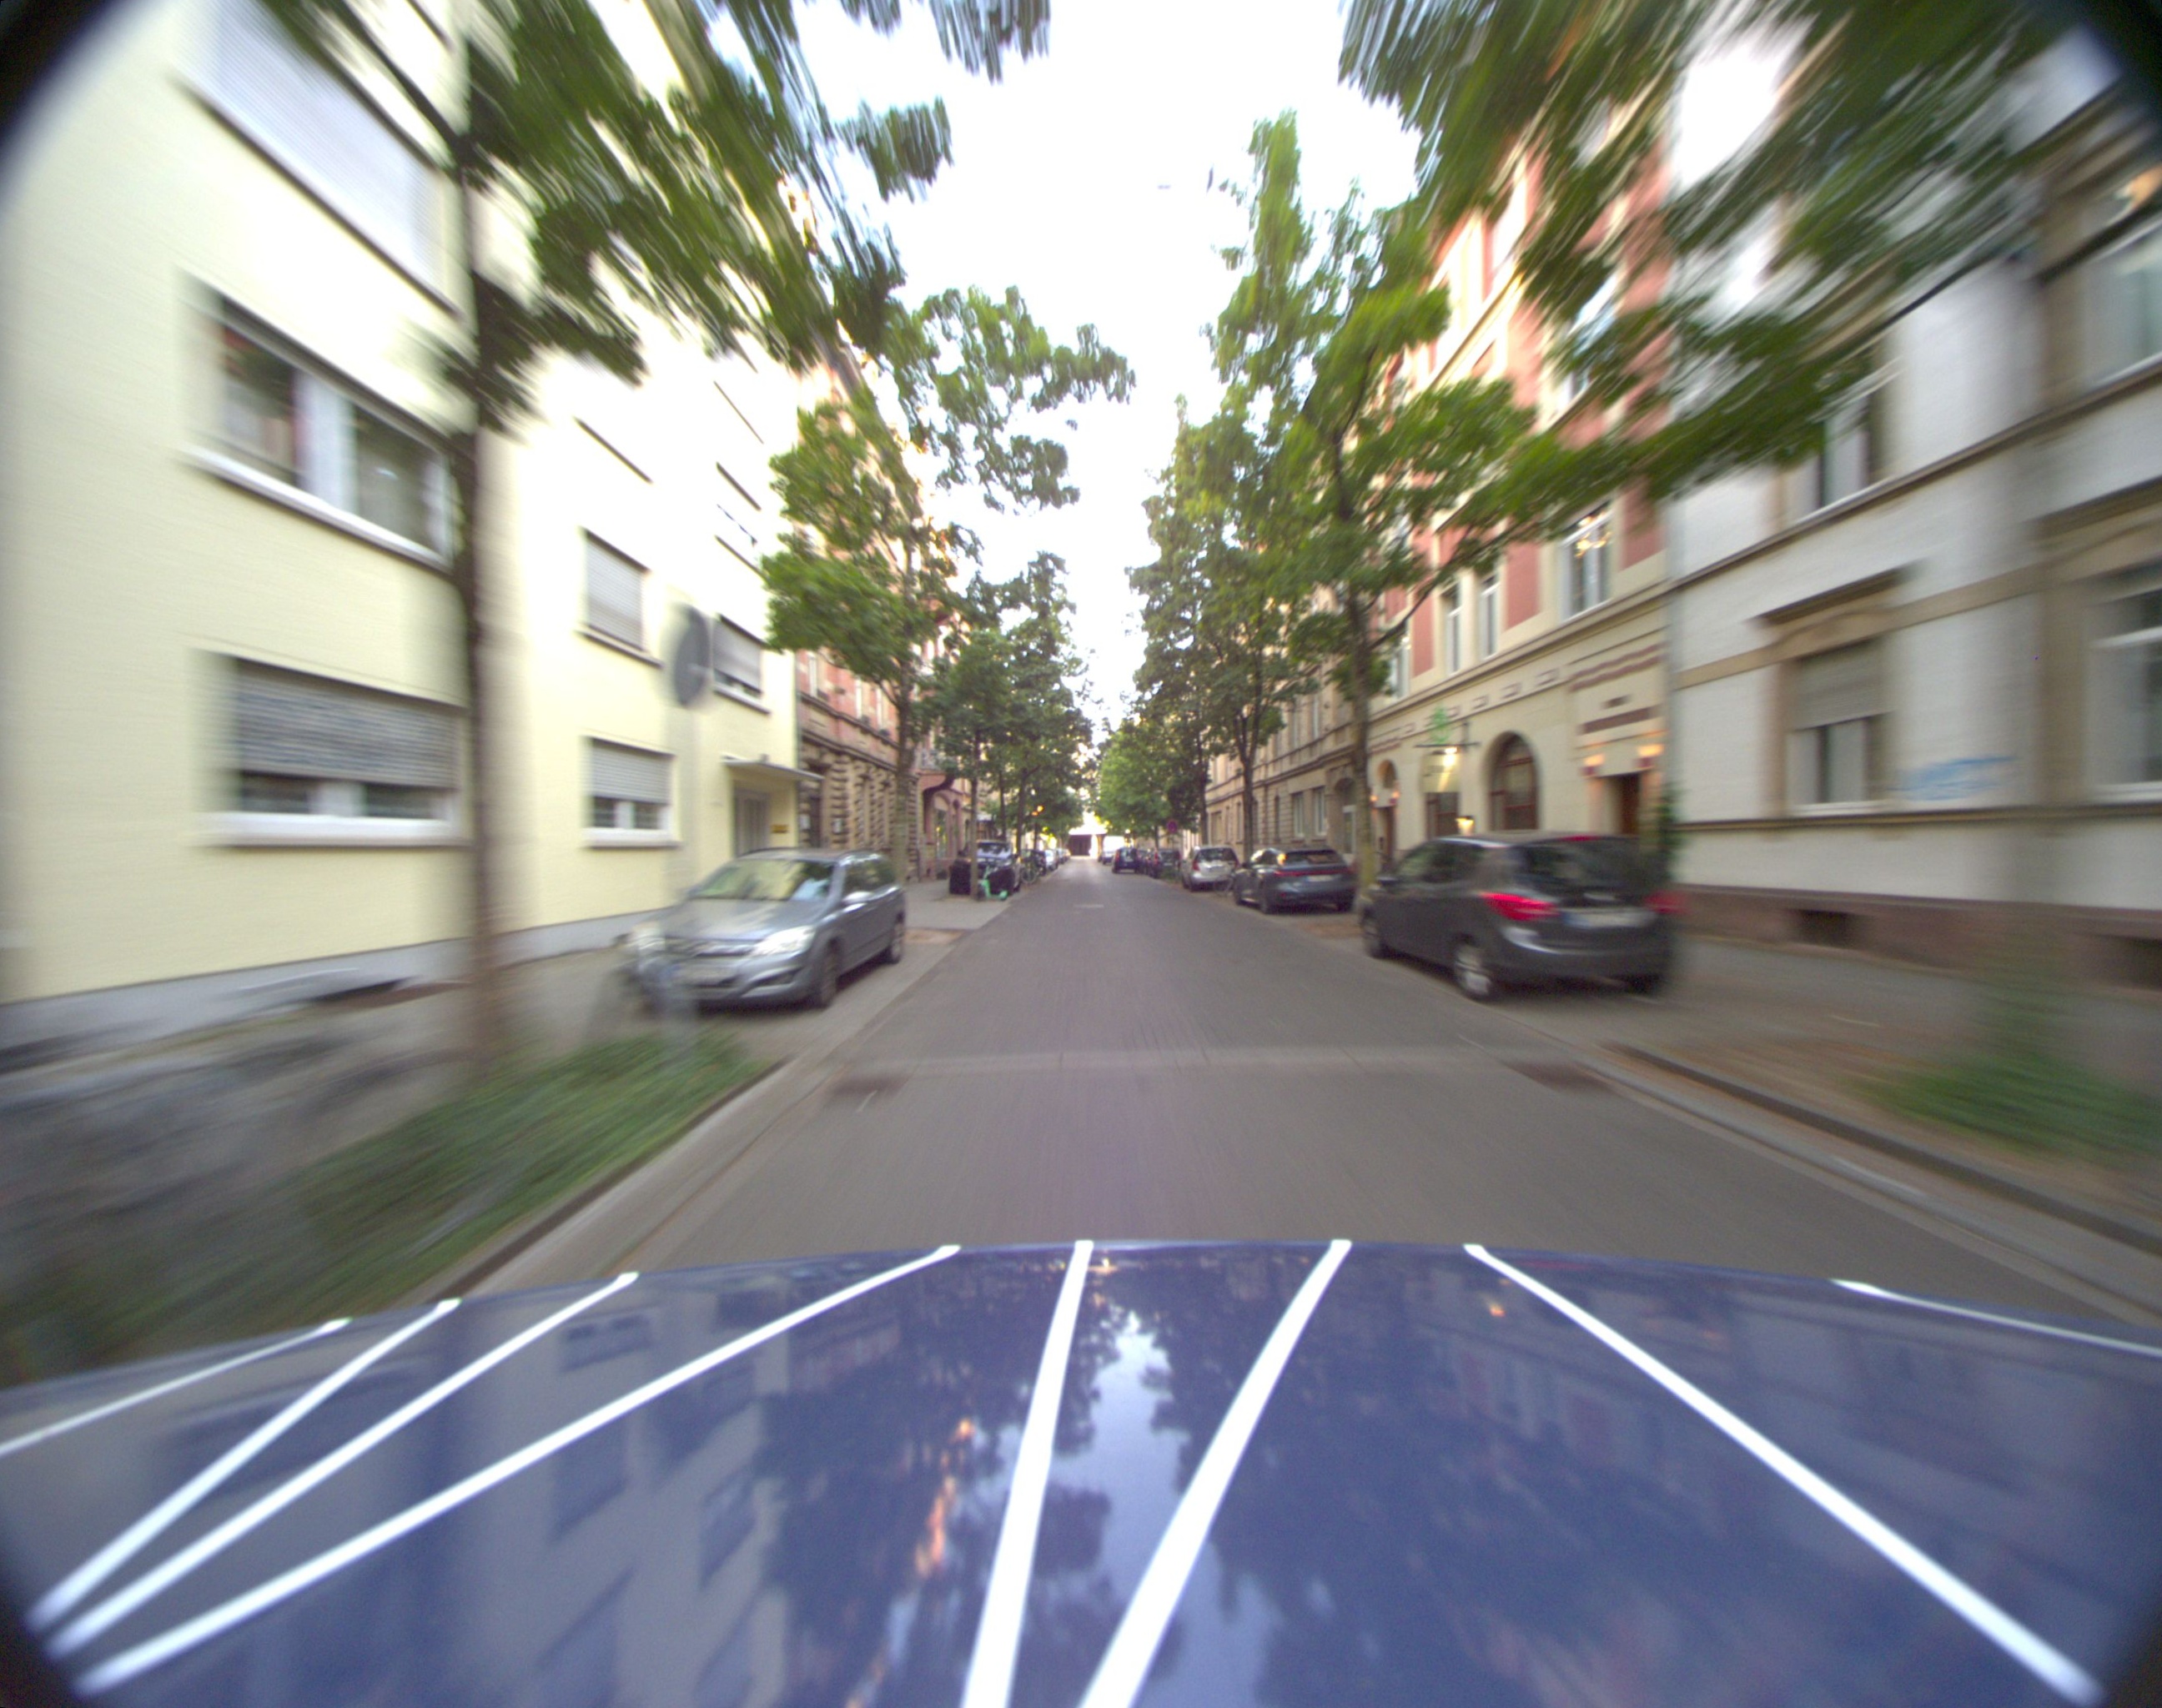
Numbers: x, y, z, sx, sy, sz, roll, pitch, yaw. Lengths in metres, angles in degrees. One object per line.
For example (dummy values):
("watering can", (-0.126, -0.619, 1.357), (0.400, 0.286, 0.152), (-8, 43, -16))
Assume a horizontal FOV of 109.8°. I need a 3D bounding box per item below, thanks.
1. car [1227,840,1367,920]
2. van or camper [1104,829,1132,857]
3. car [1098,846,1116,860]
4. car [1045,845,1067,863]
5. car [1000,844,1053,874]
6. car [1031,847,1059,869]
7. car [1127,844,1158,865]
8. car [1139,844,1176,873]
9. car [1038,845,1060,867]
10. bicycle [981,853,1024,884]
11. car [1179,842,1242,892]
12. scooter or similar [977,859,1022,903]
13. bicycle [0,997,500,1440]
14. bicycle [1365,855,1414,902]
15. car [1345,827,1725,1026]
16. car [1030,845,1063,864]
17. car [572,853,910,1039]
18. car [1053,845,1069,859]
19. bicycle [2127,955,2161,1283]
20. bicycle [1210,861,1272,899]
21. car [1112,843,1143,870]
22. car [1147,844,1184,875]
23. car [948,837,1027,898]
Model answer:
("car", (4.671, 0.479, 17.206), (1.810, 1.509, 4.684), (-2, 1, 0))
("van or camper", (3.306, -0.946, 68.376), (2.225, 2.417, 5.659), (0, 1, 0))
("car", (2.849, -0.114, 84.069), (1.665, 1.448, 4.282), (0, 1, -4))
("car", (-2.353, -0.049, 72.926), (1.944, 1.621, 4.453), (-1, 1, 0))
("car", (-3.109, 0.278, 43.795), (2.804, 1.590, 1.800), (2, 1, 1))
("car", (-2.512, 0.237, 53.185), (1.737, 1.482, 4.103), (0, 1, 0))
("car", (4.446, 0.023, 55.409), (1.771, 1.454, 4.257), (-1, 1, -1))
("car", (4.351, 0.222, 43.619), (1.695, 1.493, 3.711), (-2, 1, -1))
("car", (-2.416, 0.137, 57.558), (1.595, 1.551, 3.122), (-1, 1, -1))
("bicycle", (-3.448, 0.634, 33.402), (1.766, 1.286, 0.801), (2, 1, 0))
("car", (4.513, 0.419, 26.983), (1.680, 1.598, 3.861), (-2, 1, 2))
("scooter or similar", (-2.322, 0.753, 21.726), (0.673, 1.183, 1.118), (3, 2, 40))
("bicycle", (-3.013, 1.045, 2.253), (1.924, 0.976, 0.637), (-1, 1, -21))
("bicycle", (7.730, 0.582, 19.106), (0.527, 1.091, 1.794), (-1, 1, 1))
("car", (4.435, 0.585, 8.268), (1.711, 1.571, 4.077), (-2, 0, 1))
("car", (-2.973, -0.001, 65.113), (2.721, 1.564, 1.526), (1, 1, 0))
("car", (-3.211, 0.741, 8.262), (1.763, 1.454, 4.307), (0, 1, 0))
("car", (-2.322, -0.256, 90.533), (1.835, 1.530, 4.123), (0, 1, 0))
("bicycle", (4.376, 0.931, 1.982), (1.823, 1.079, 0.670), (0, 3, 43))
("bicycle", (4.698, 0.751, 22.332), (1.688, 0.997, 0.430), (-3, 1, 2))
("car", (2.878, 0.126, 47.847), (1.728, 1.564, 4.219), (-1, 1, 0))
("car", (4.377, 0.258, 39.734), (1.523, 1.493, 3.560), (-2, 1, 0))
("car", (-3.027, 0.382, 25.606), (2.019, 1.823, 4.810), (2, 1, 0))
